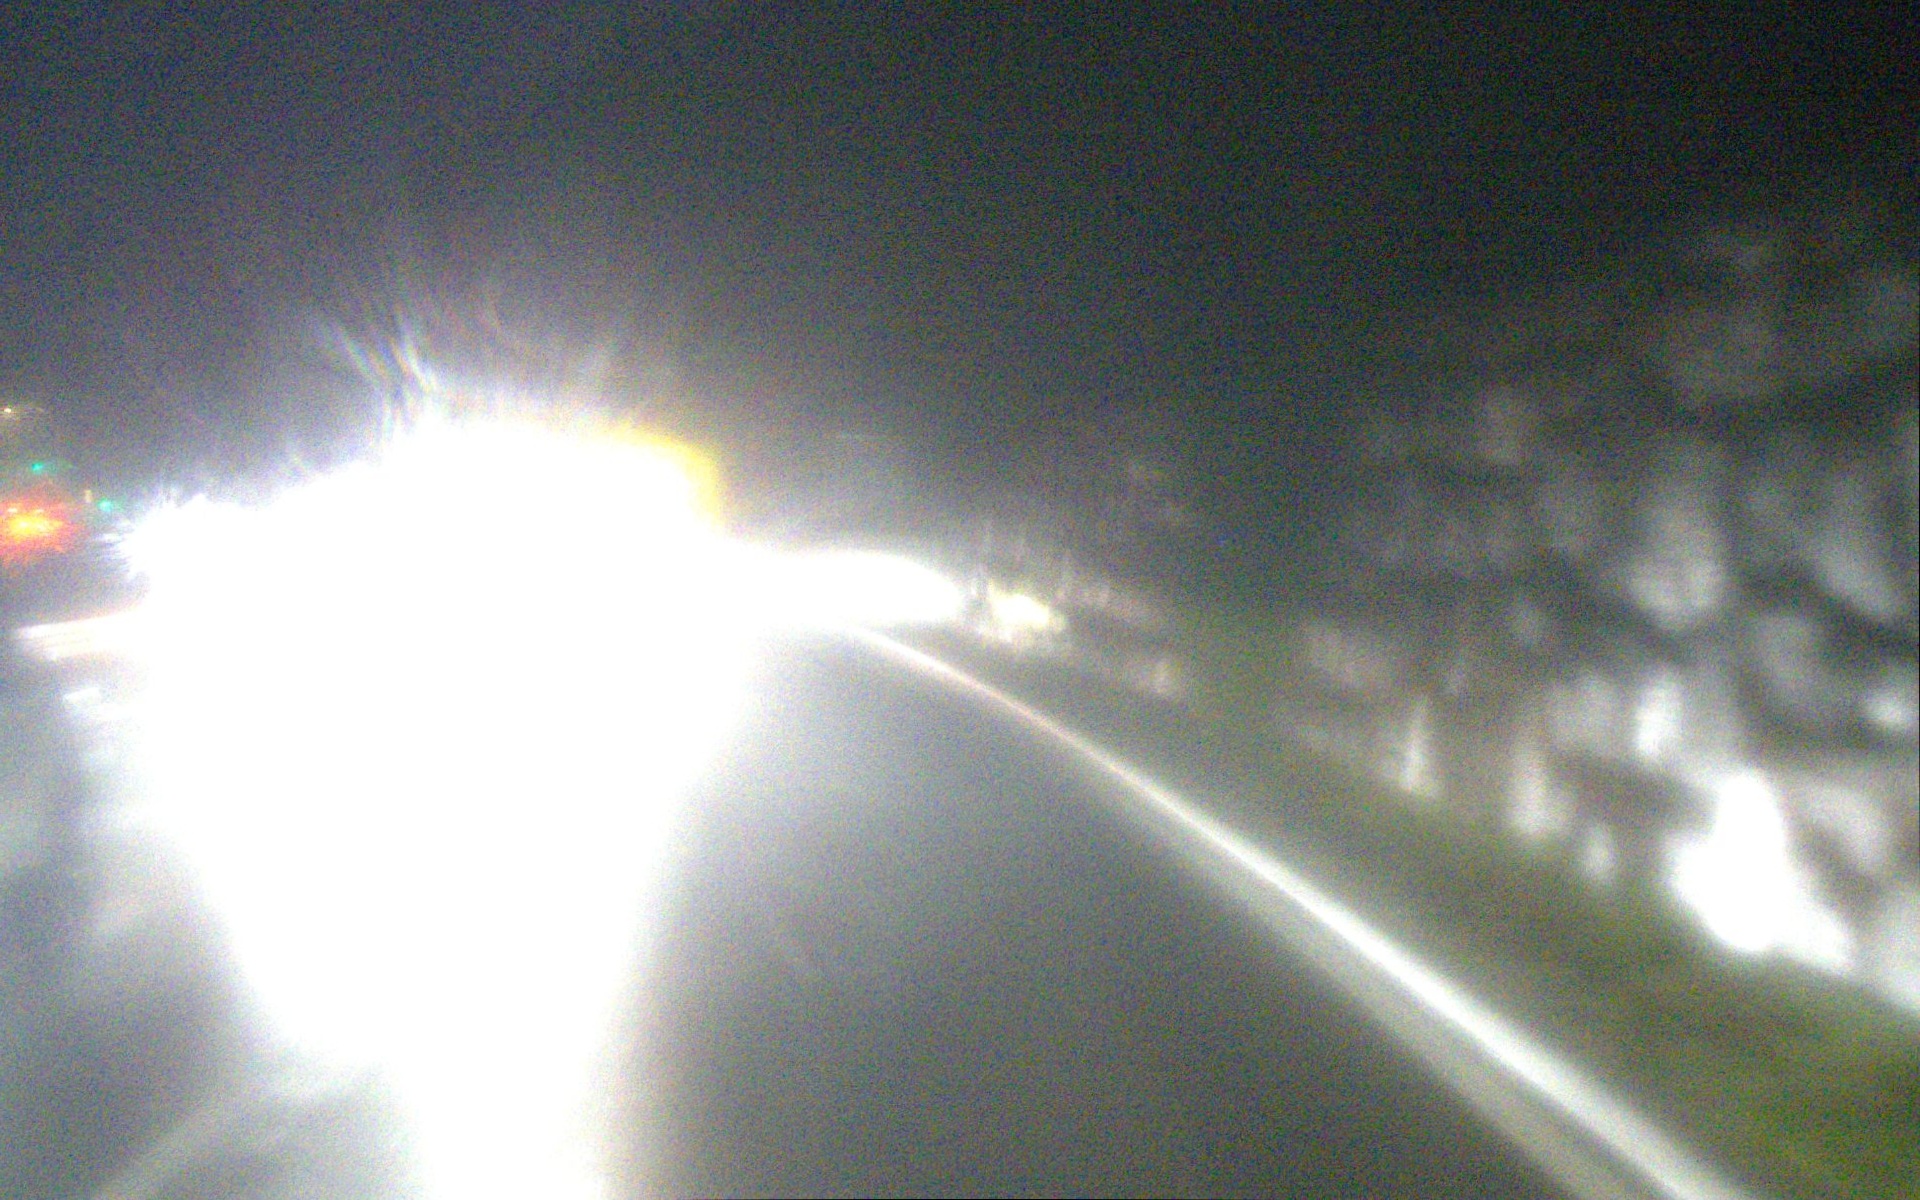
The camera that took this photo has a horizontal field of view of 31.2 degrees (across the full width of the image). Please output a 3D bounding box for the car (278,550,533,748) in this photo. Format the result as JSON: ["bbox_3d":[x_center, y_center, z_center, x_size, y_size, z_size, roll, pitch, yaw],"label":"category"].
[{"bbox_3d":[-5.381,0.421,33.873,1.993,1.800,4.596,1,1,-3],"label":"car"}]

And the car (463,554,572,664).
[{"bbox_3d":[-7.950,0.126,62.051,1.788,1.617,4.378,0,5,-5],"label":"car"}]

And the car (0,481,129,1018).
[{"bbox_3d":[-3.873,0.463,10.376,1.808,1.670,4.293,1,1,-2],"label":"car"}]
